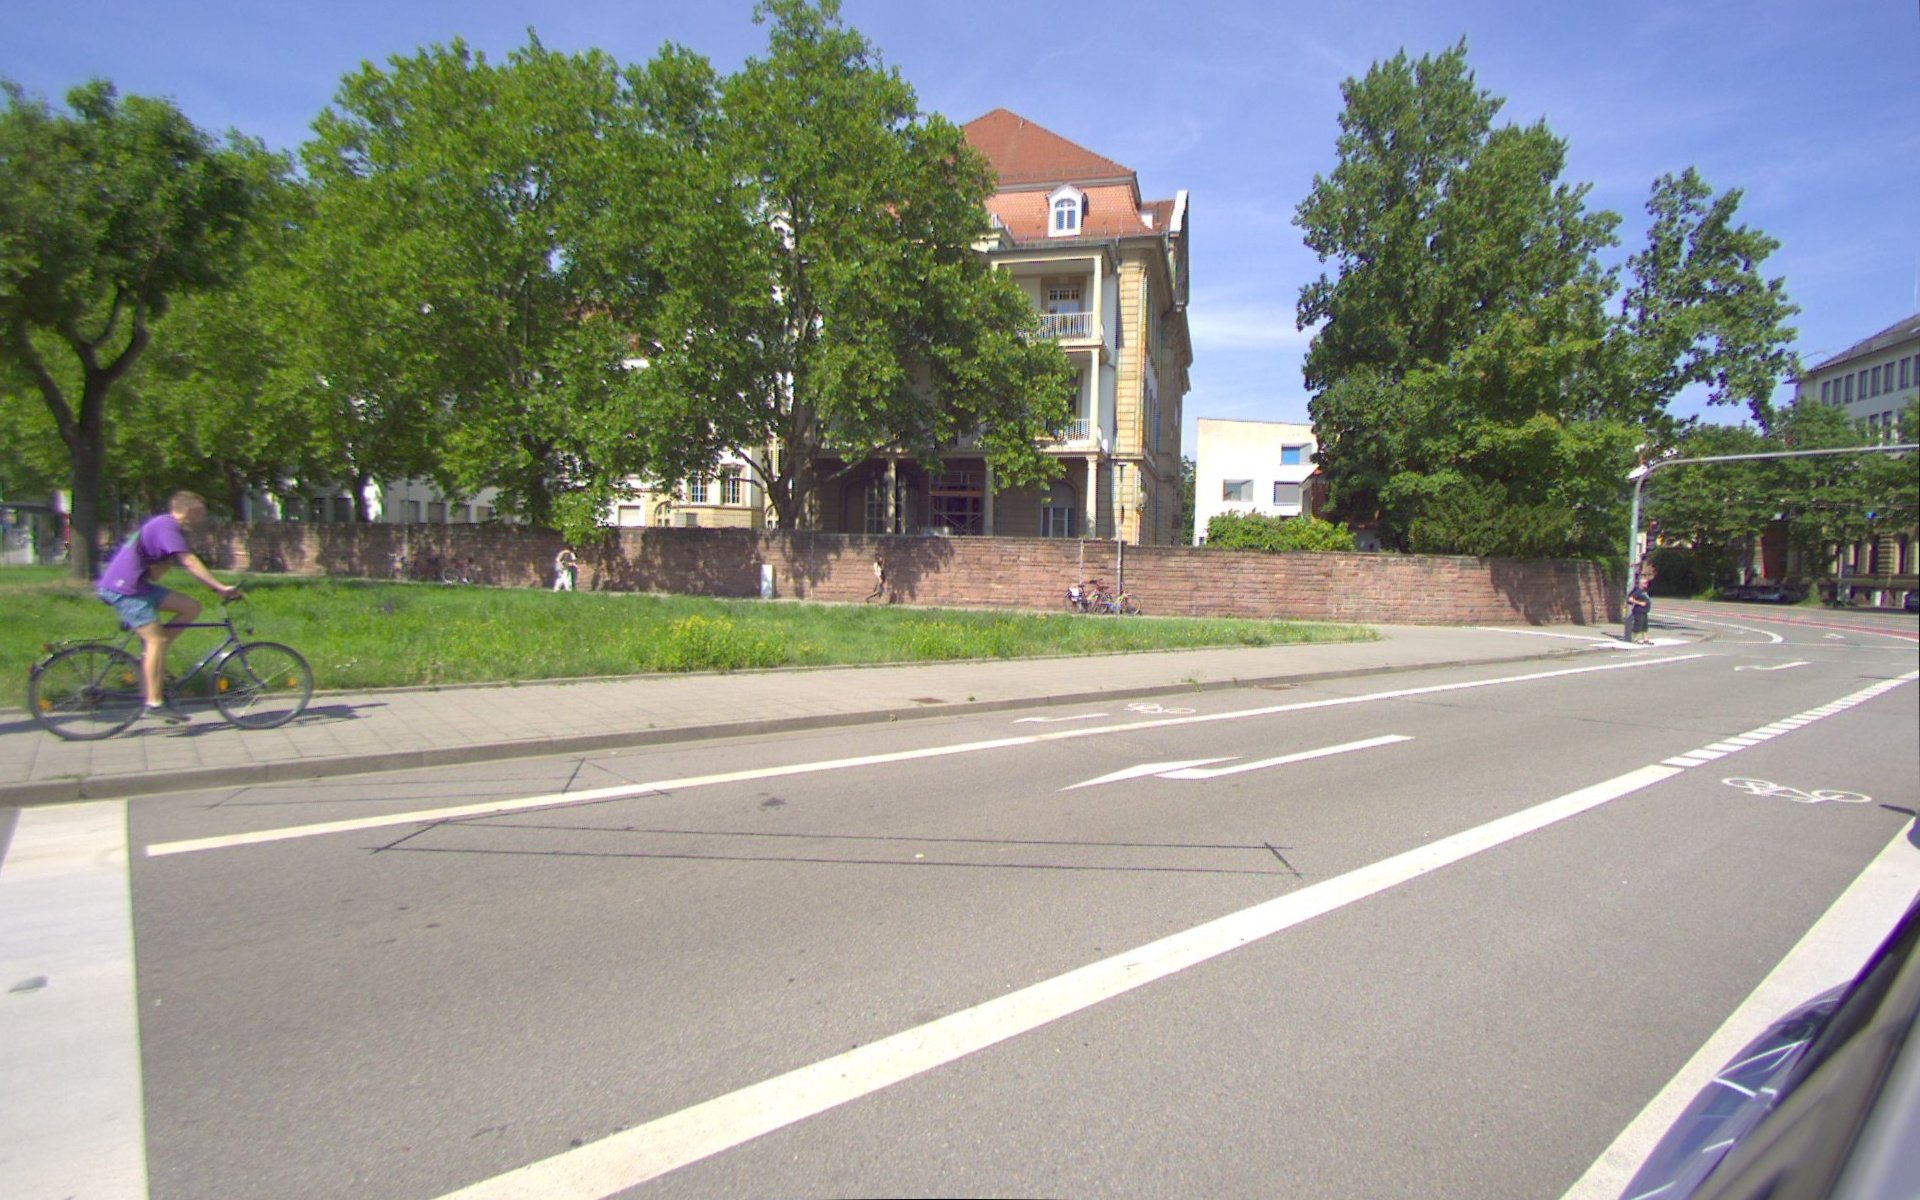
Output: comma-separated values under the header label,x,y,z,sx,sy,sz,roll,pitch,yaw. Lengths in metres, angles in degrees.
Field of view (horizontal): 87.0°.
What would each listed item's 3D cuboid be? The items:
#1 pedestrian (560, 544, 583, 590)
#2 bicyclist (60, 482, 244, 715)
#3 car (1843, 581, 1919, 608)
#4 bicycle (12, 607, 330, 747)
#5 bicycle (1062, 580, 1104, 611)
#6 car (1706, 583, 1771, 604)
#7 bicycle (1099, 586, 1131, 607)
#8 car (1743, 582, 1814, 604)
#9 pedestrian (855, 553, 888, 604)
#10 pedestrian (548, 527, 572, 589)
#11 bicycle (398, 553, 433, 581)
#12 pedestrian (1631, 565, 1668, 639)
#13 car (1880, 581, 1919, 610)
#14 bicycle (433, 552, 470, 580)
label,x,y,z,sx,sy,sz,roll,pitch,yaw
pedestrian,-13.784,-1.168,35.891,0.700,1.597,0.516,3,3,41
bicyclist,-6.158,-0.030,7.737,1.067,1.657,0.487,-1,3,-44
car,61.908,-0.379,67.530,3.940,1.682,1.993,0,3,14
bicycle,-6.082,0.536,7.894,1.900,0.898,0.684,-1,3,-43
bicycle,3.791,-0.139,31.106,1.202,0.894,0.395,1,2,-21
car,67.344,-0.544,87.587,3.943,1.682,1.992,0,3,16
bicycle,4.790,-0.099,31.281,0.929,0.609,0.275,2,2,-2
car,66.133,-0.583,81.848,3.941,1.682,1.993,0,3,14
pedestrian,-2.816,-0.696,32.175,0.900,1.567,0.501,2,2,13
pedestrian,-13.528,-1.423,34.246,0.586,2.038,0.522,1,2,9
bicycle,-21.611,-1.302,40.157,1.432,1.046,0.444,3,2,24
pedestrian,19.555,0.049,28.711,0.790,2.038,0.608,3,2,35
car,60.778,-0.292,63.493,3.942,1.682,1.992,0,3,15
bicycle,-19.749,-1.314,39.302,1.432,1.046,0.444,3,2,24
